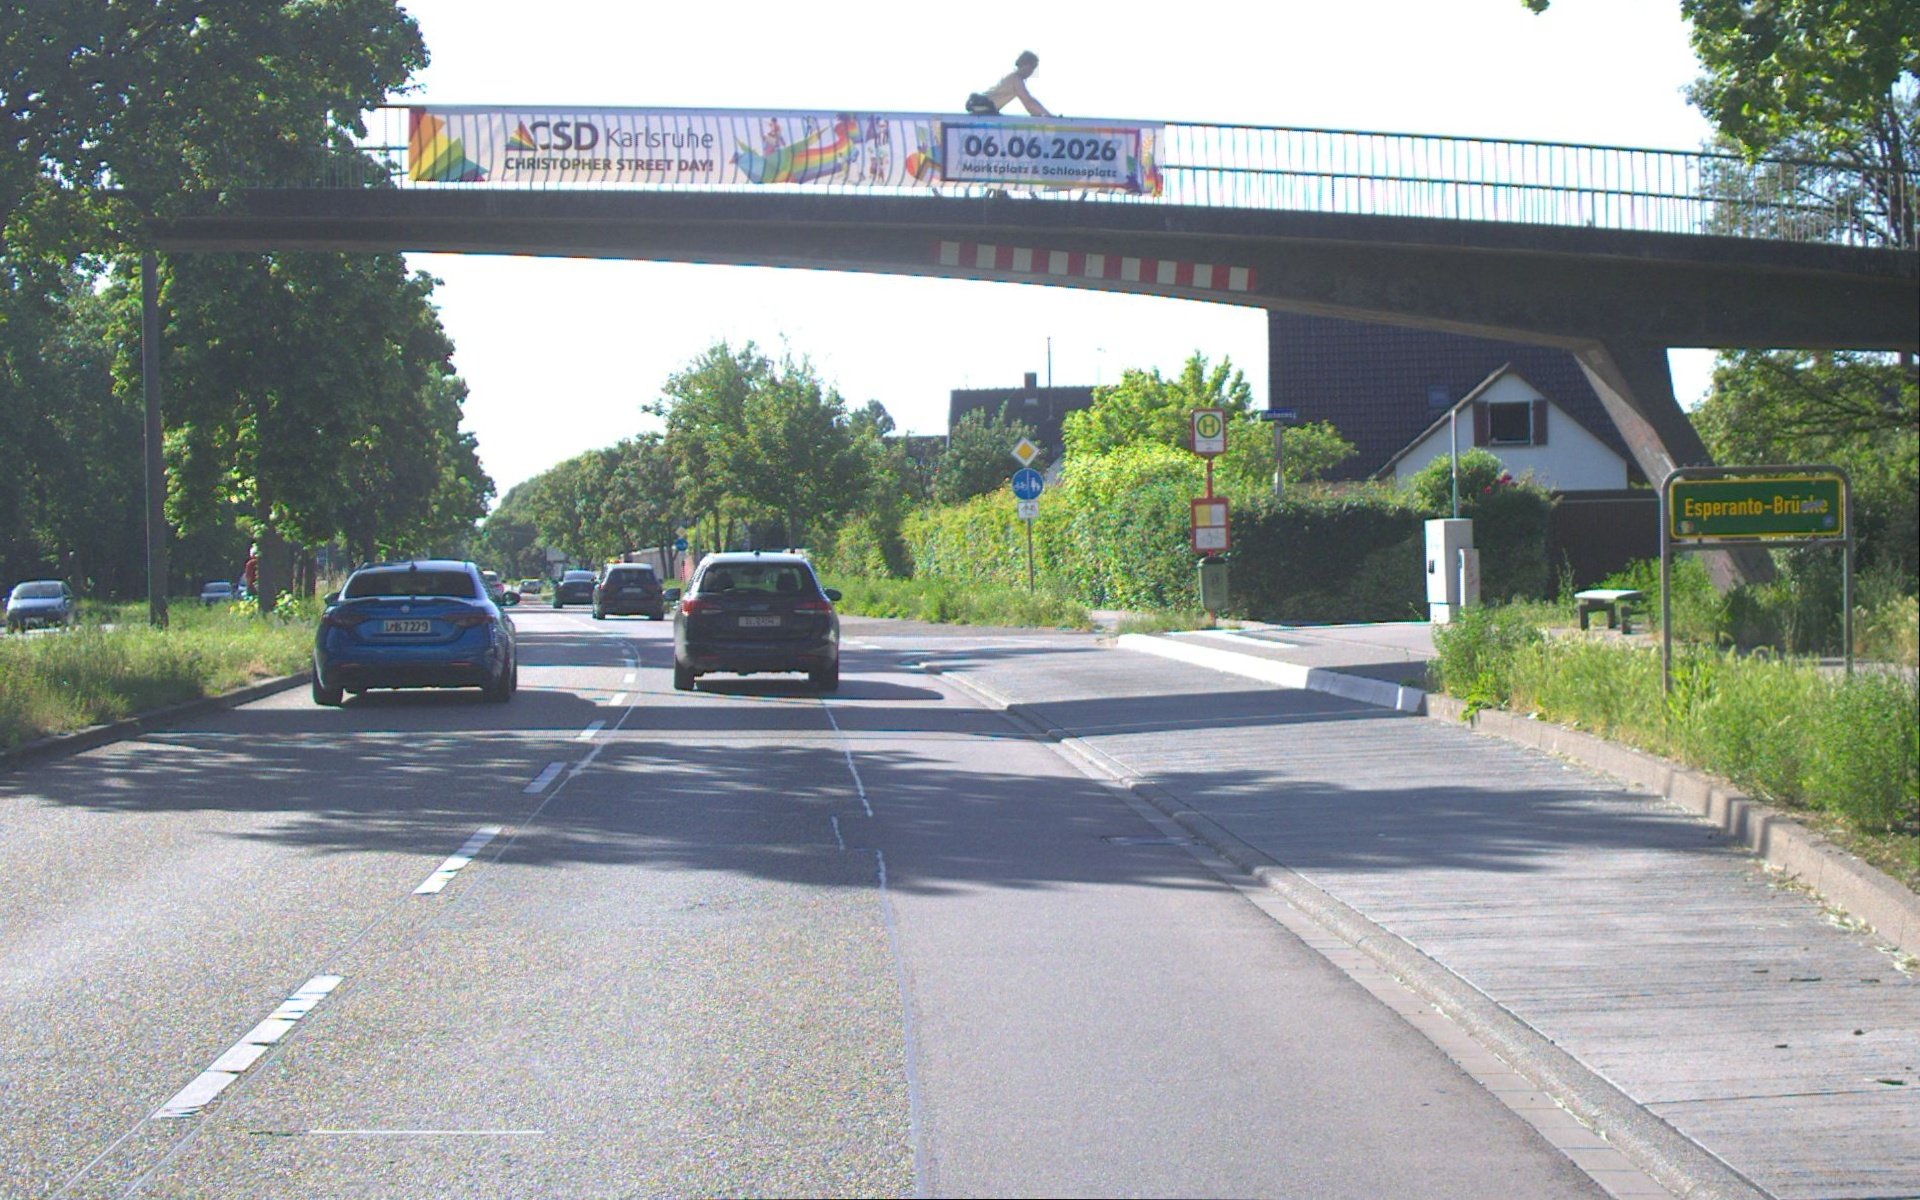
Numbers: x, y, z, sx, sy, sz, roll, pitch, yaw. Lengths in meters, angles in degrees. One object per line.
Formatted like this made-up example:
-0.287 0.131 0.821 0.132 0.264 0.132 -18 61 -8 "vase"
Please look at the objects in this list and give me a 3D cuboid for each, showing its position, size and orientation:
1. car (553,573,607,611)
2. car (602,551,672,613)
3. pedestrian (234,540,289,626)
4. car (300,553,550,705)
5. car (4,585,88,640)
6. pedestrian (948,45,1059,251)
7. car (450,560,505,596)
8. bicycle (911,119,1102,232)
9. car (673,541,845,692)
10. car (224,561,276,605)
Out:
-14.679 -0.311 132.701 1.898 1.351 4.001 -1 1 -8 "car"
-8.762 -0.497 92.984 1.743 1.592 4.176 -1 1 -7 "car"
-13.784 -0.342 67.859 0.631 1.691 0.942 0 1 22 "pedestrian"
-5.341 0.251 34.793 1.994 1.400 4.000 -1 1 -2 "car"
-25.623 0.334 96.500 1.540 1.426 4.256 -2 1 -5 "car"
0.465 -4.898 37.343 1.065 2.116 0.997 -1 1 -6 "pedestrian"
-20.311 -0.939 144.572 1.978 1.435 4.001 -1 1 -12 "car"
0.499 -4.594 37.296 1.988 1.104 0.728 1 1 -5 "bicycle"
-2.256 0.175 37.764 1.760 1.554 4.001 1 0 -5 "car"
-27.906 -0.670 135.156 1.730 1.626 4.199 -2 1 -8 "car"
